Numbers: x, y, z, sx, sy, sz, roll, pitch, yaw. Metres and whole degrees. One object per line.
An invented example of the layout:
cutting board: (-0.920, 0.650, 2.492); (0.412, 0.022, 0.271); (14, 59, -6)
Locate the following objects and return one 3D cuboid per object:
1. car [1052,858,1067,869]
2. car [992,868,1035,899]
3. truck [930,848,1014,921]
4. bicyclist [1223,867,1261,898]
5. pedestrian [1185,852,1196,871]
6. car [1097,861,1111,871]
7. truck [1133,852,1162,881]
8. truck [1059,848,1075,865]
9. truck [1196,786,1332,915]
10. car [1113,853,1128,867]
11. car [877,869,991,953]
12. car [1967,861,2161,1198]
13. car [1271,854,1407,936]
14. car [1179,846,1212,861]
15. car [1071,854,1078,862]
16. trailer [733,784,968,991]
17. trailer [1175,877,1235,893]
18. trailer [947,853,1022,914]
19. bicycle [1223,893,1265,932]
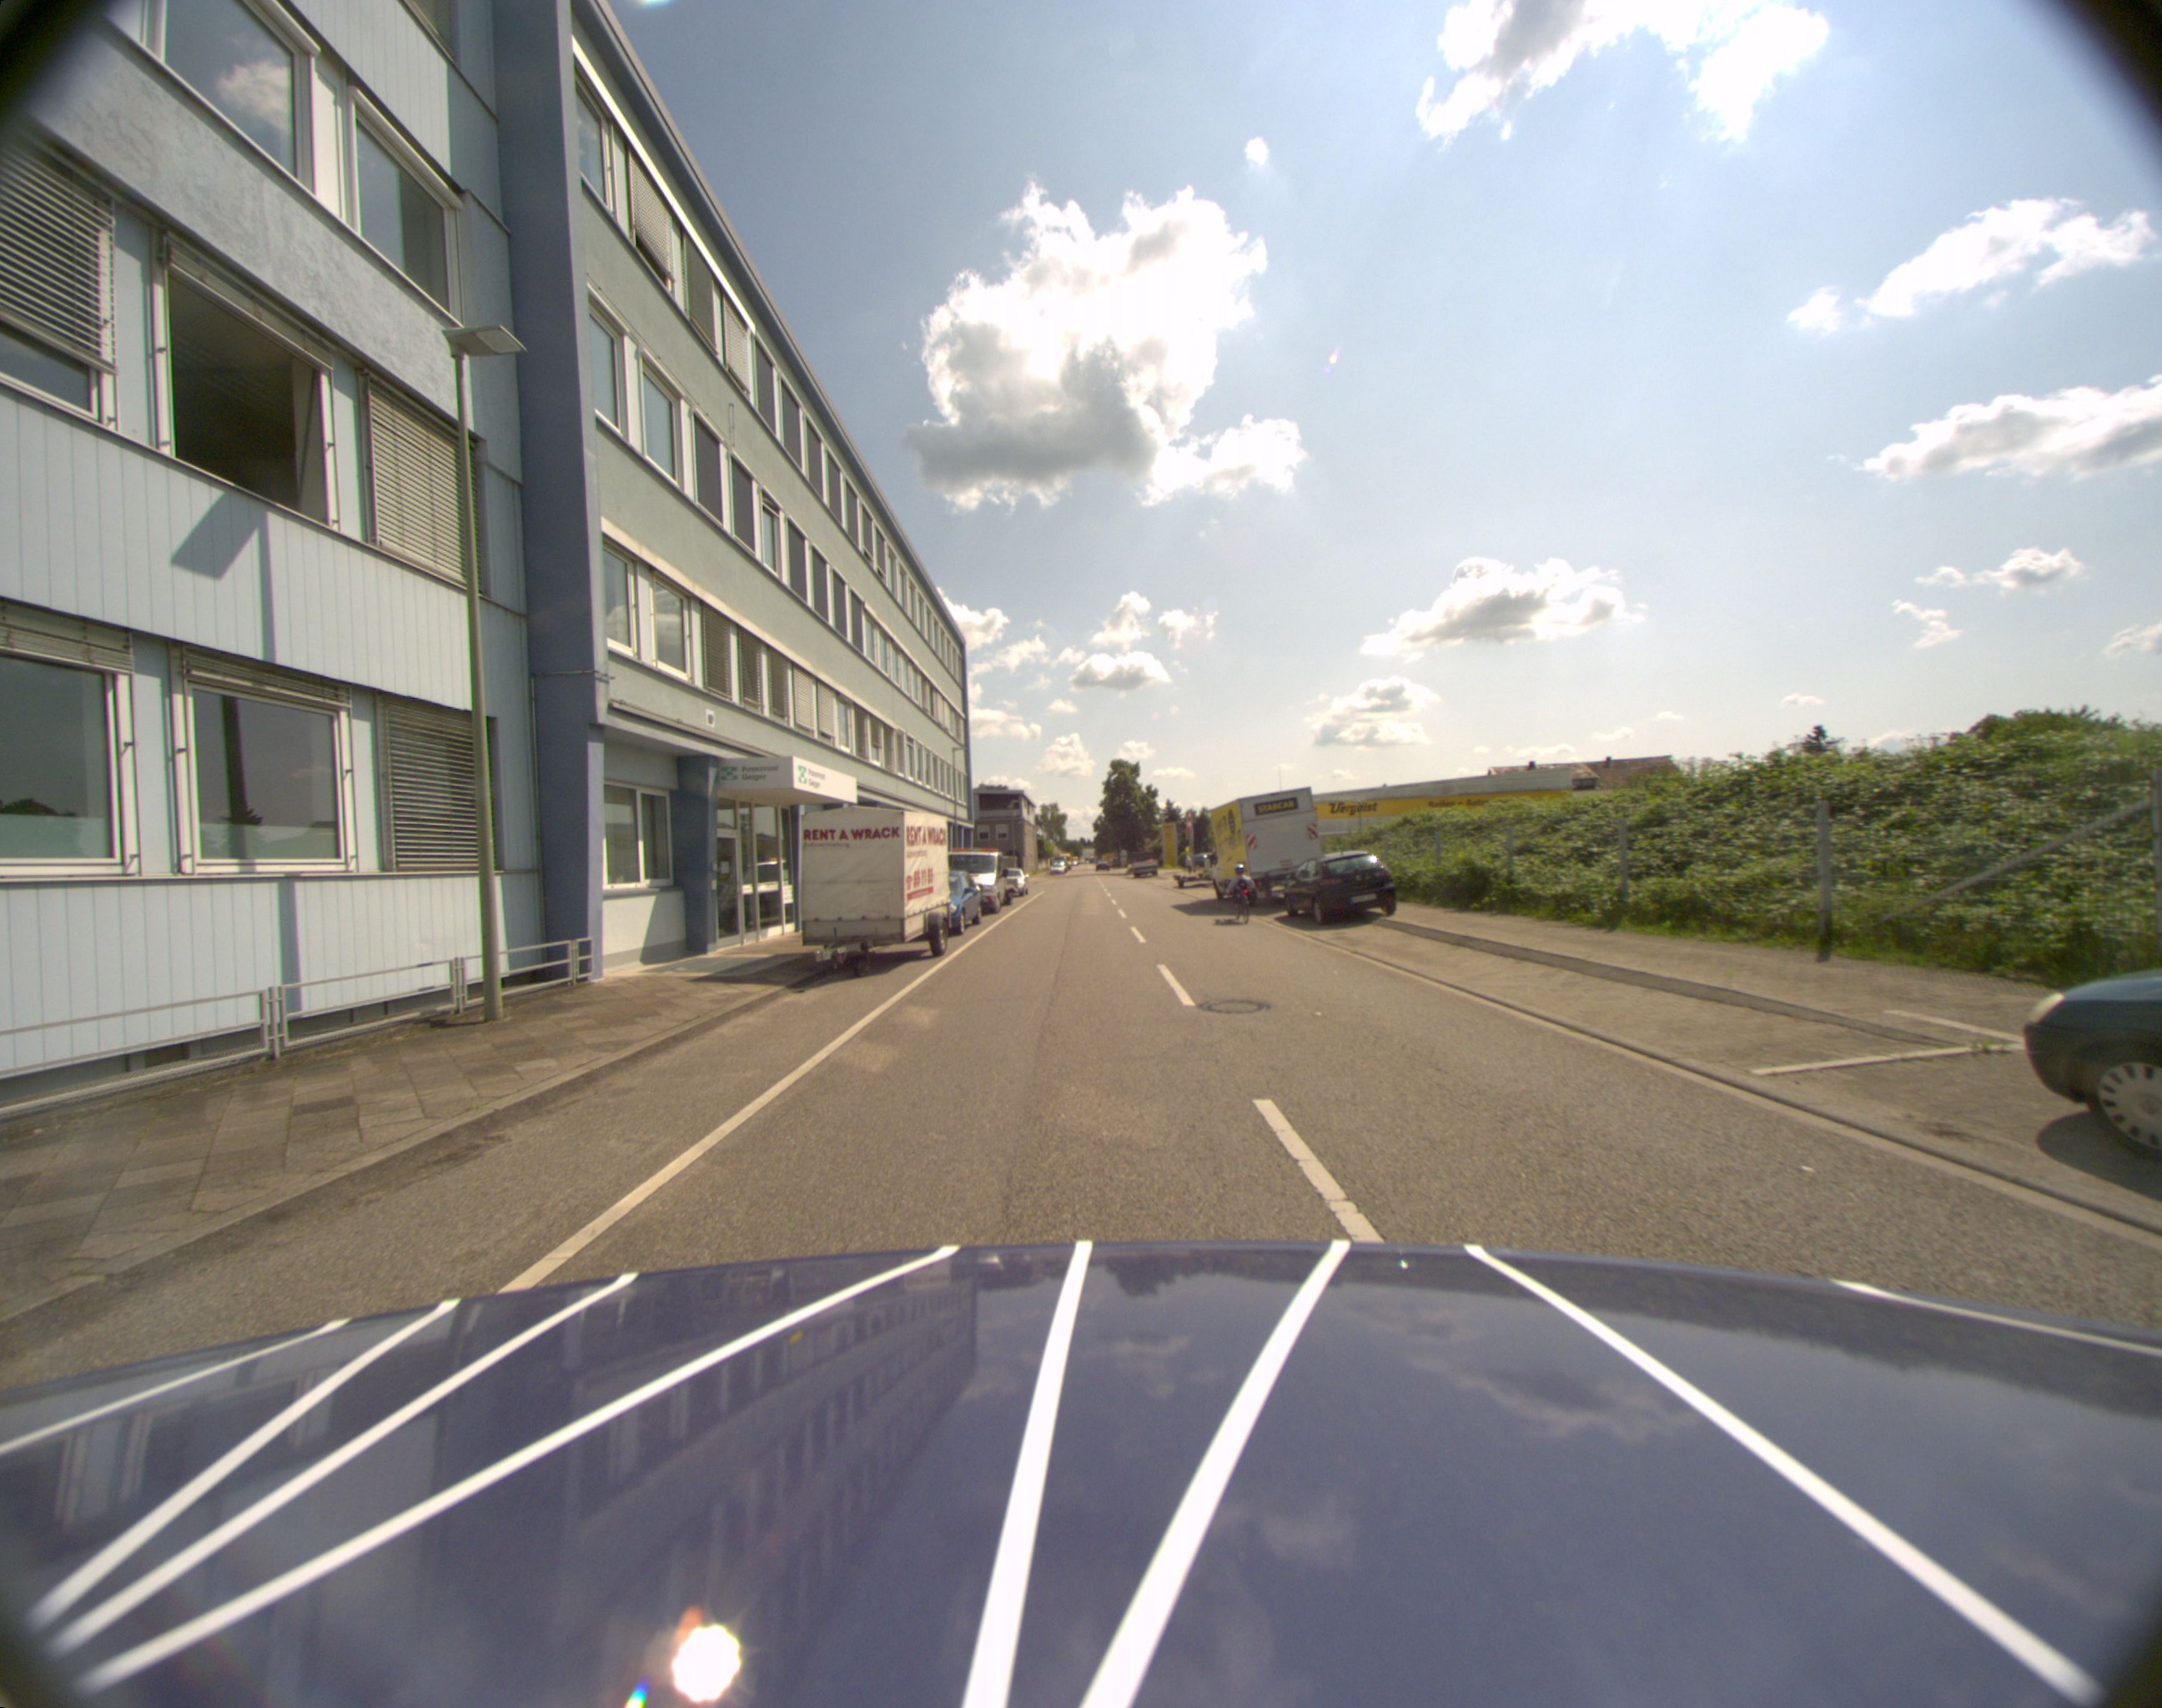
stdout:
car: (-2.702, 1.164, 95.349); (1.657, 1.324, 4.000); (-3, 0, 0)
car: (-3.177, 1.360, 36.325); (1.651, 1.239, 4.000); (-3, 0, 0)
truck: (-3.408, 0.896, 24.623); (1.969, 2.023, 4.734); (-3, 0, 0)
bicyclist: (3.779, 0.664, 17.938); (0.567, 0.628, 1.858); (-4, 0, 3)
pedestrian: (9.211, 0.603, 63.912); (0.661, 1.536, 0.918); (-3, 0, 1)
car: (3.189, 1.647, 105.715); (1.789, 1.430, 4.309); (0, 0, -1)
truck: (5.964, 1.076, 69.231); (2.133, 2.225, 7.350); (-6, 0, 3)
truck: (-2.333, 0.407, 129.288); (2.402, 2.787, 6.375); (-3, 0, 2)
truck: (5.642, -0.076, 24.682); (2.256, 3.342, 6.906); (-8, 0, -1)
car: (7.081, 1.087, 135.197); (1.997, 2.289, 4.003); (-3, 0, 10)
car: (-3.367, 1.243, 18.269); (1.722, 1.533, 4.403); (-4, 1, 1)
car: (5.527, 0.763, 2.130); (1.572, 1.391, 3.799); (-8, 0, 2)
car: (5.726, 0.834, 17.357); (1.623, 1.421, 3.826); (-9, 0, 0)
car: (15.035, -0.040, 99.671); (4.093, 1.703, 1.680); (-3, 0, 9)
car: (-1.868, 1.195, 218.332); (1.998, 2.002, 4.000); (-3, 0, 2)
trailer: (-3.305, 0.425, 12.178); (1.873, 2.538, 5.072); (-3, 0, 3)
trailer: (6.227, 1.550, 38.739); (2.241, 0.549, 4.444); (-3, 0, -1)
trailer: (-3.458, 0.983, 28.360); (1.978, 1.959, 5.765); (-3, 0, 0)
bicycle: (3.814, 1.358, 17.942); (0.589, 0.737, 2.125); (-3, 0, 2)
